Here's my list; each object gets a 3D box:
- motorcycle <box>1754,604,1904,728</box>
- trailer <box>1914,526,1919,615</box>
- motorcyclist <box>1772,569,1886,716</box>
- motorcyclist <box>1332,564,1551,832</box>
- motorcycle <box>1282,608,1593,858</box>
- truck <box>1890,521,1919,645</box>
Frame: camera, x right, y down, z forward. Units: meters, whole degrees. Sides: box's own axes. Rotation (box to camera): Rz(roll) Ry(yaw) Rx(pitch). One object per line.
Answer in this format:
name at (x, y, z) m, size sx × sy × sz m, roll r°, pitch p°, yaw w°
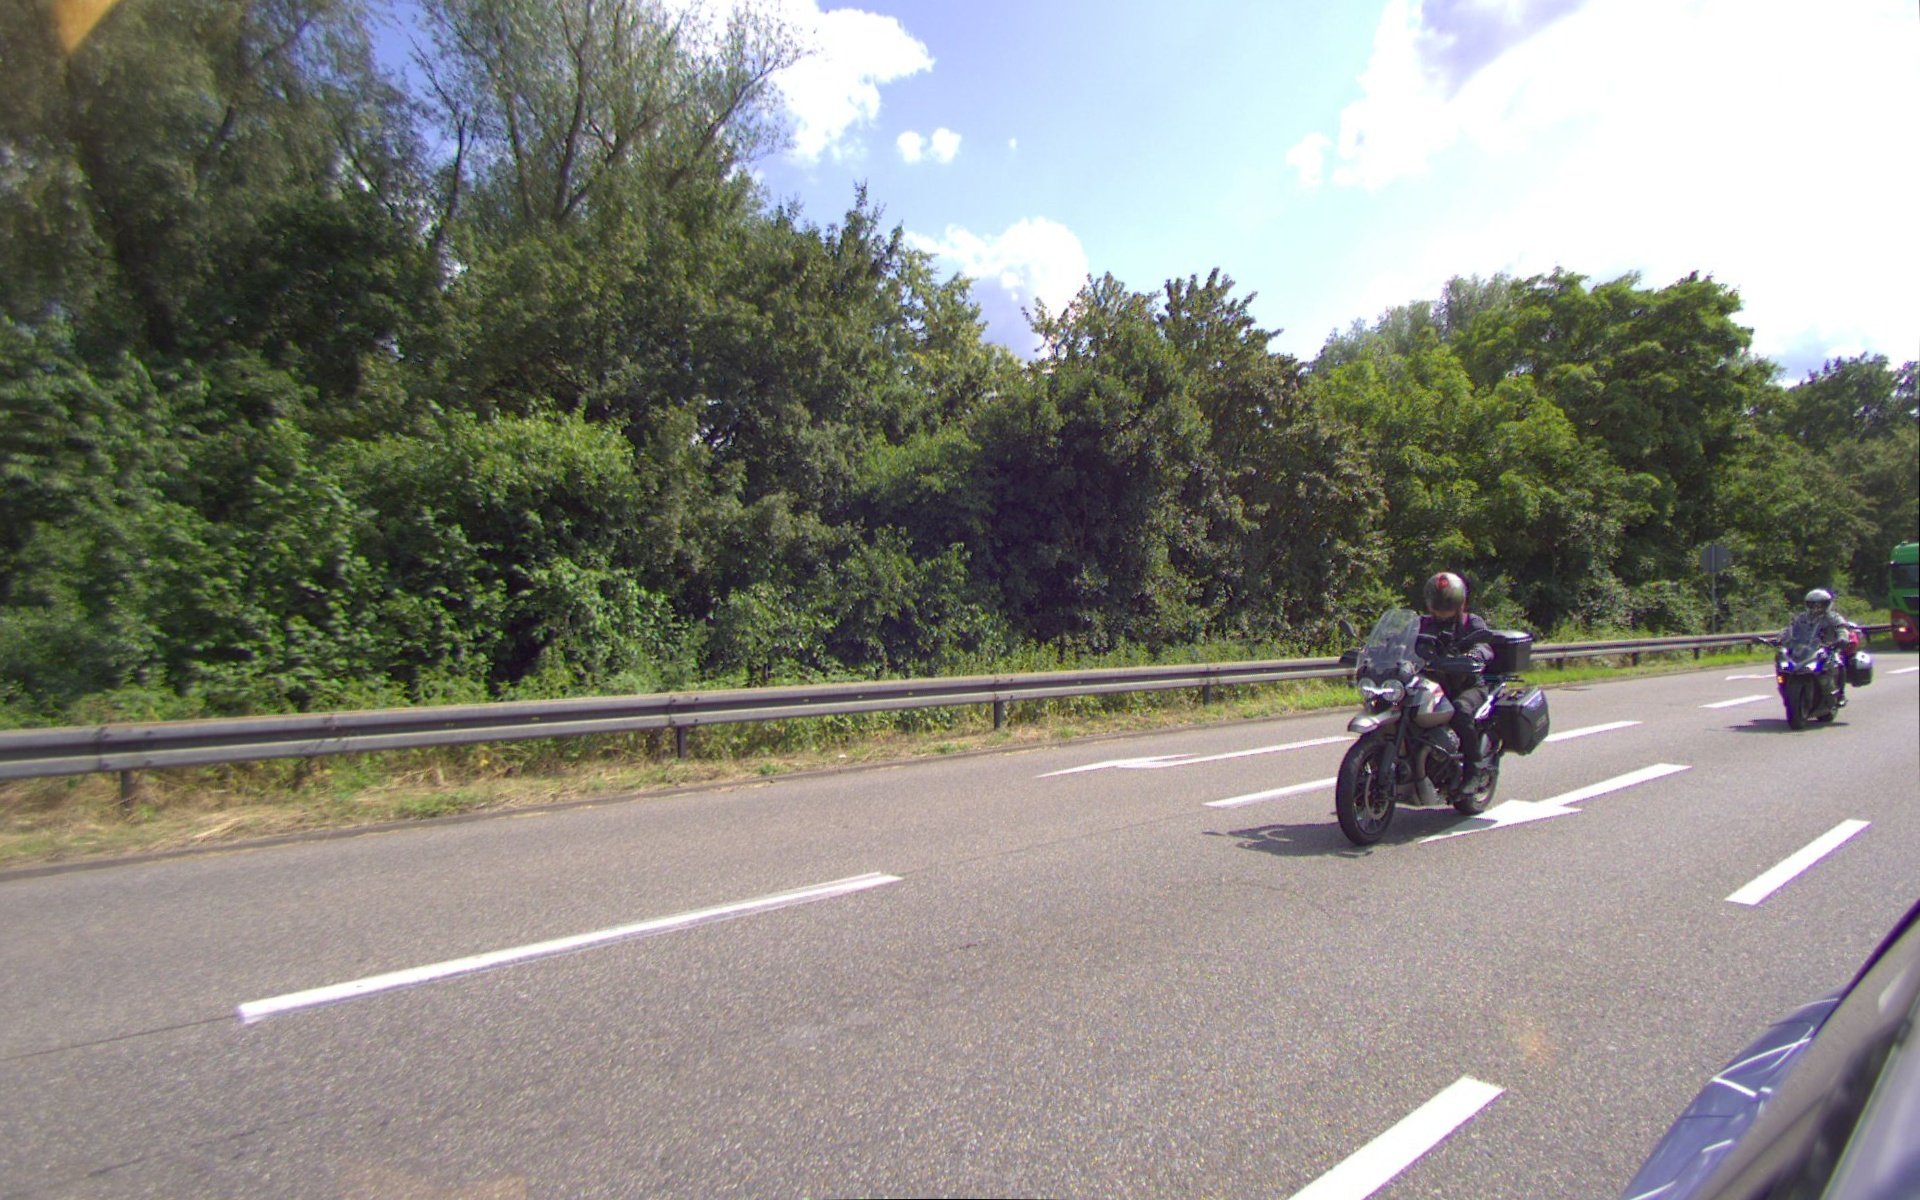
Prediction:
motorcycle at (10.806, 0.767, 12.560) m, size 2.325 × 1.407 × 0.868 m, roll 1°, pitch -1°, yaw -36°
trailer at (39.339, -0.606, 37.710) m, size 14.226 × 3.944 × 2.592 m, roll 0°, pitch -3°, yaw -35°
motorcyclist at (10.730, 0.503, 12.510) m, size 0.877 × 1.722 × 0.868 m, roll 1°, pitch -1°, yaw -36°
motorcyclist at (3.228, 0.592, 6.792) m, size 1.063 × 1.611 × 0.939 m, roll 0°, pitch -1°, yaw -38°
motorcycle at (3.266, 0.760, 6.818) m, size 2.326 × 1.401 × 0.939 m, roll 0°, pitch -1°, yaw -38°
truck at (33.598, -0.576, 33.638) m, size 5.946 × 3.945 × 2.592 m, roll 0°, pitch -3°, yaw -35°
